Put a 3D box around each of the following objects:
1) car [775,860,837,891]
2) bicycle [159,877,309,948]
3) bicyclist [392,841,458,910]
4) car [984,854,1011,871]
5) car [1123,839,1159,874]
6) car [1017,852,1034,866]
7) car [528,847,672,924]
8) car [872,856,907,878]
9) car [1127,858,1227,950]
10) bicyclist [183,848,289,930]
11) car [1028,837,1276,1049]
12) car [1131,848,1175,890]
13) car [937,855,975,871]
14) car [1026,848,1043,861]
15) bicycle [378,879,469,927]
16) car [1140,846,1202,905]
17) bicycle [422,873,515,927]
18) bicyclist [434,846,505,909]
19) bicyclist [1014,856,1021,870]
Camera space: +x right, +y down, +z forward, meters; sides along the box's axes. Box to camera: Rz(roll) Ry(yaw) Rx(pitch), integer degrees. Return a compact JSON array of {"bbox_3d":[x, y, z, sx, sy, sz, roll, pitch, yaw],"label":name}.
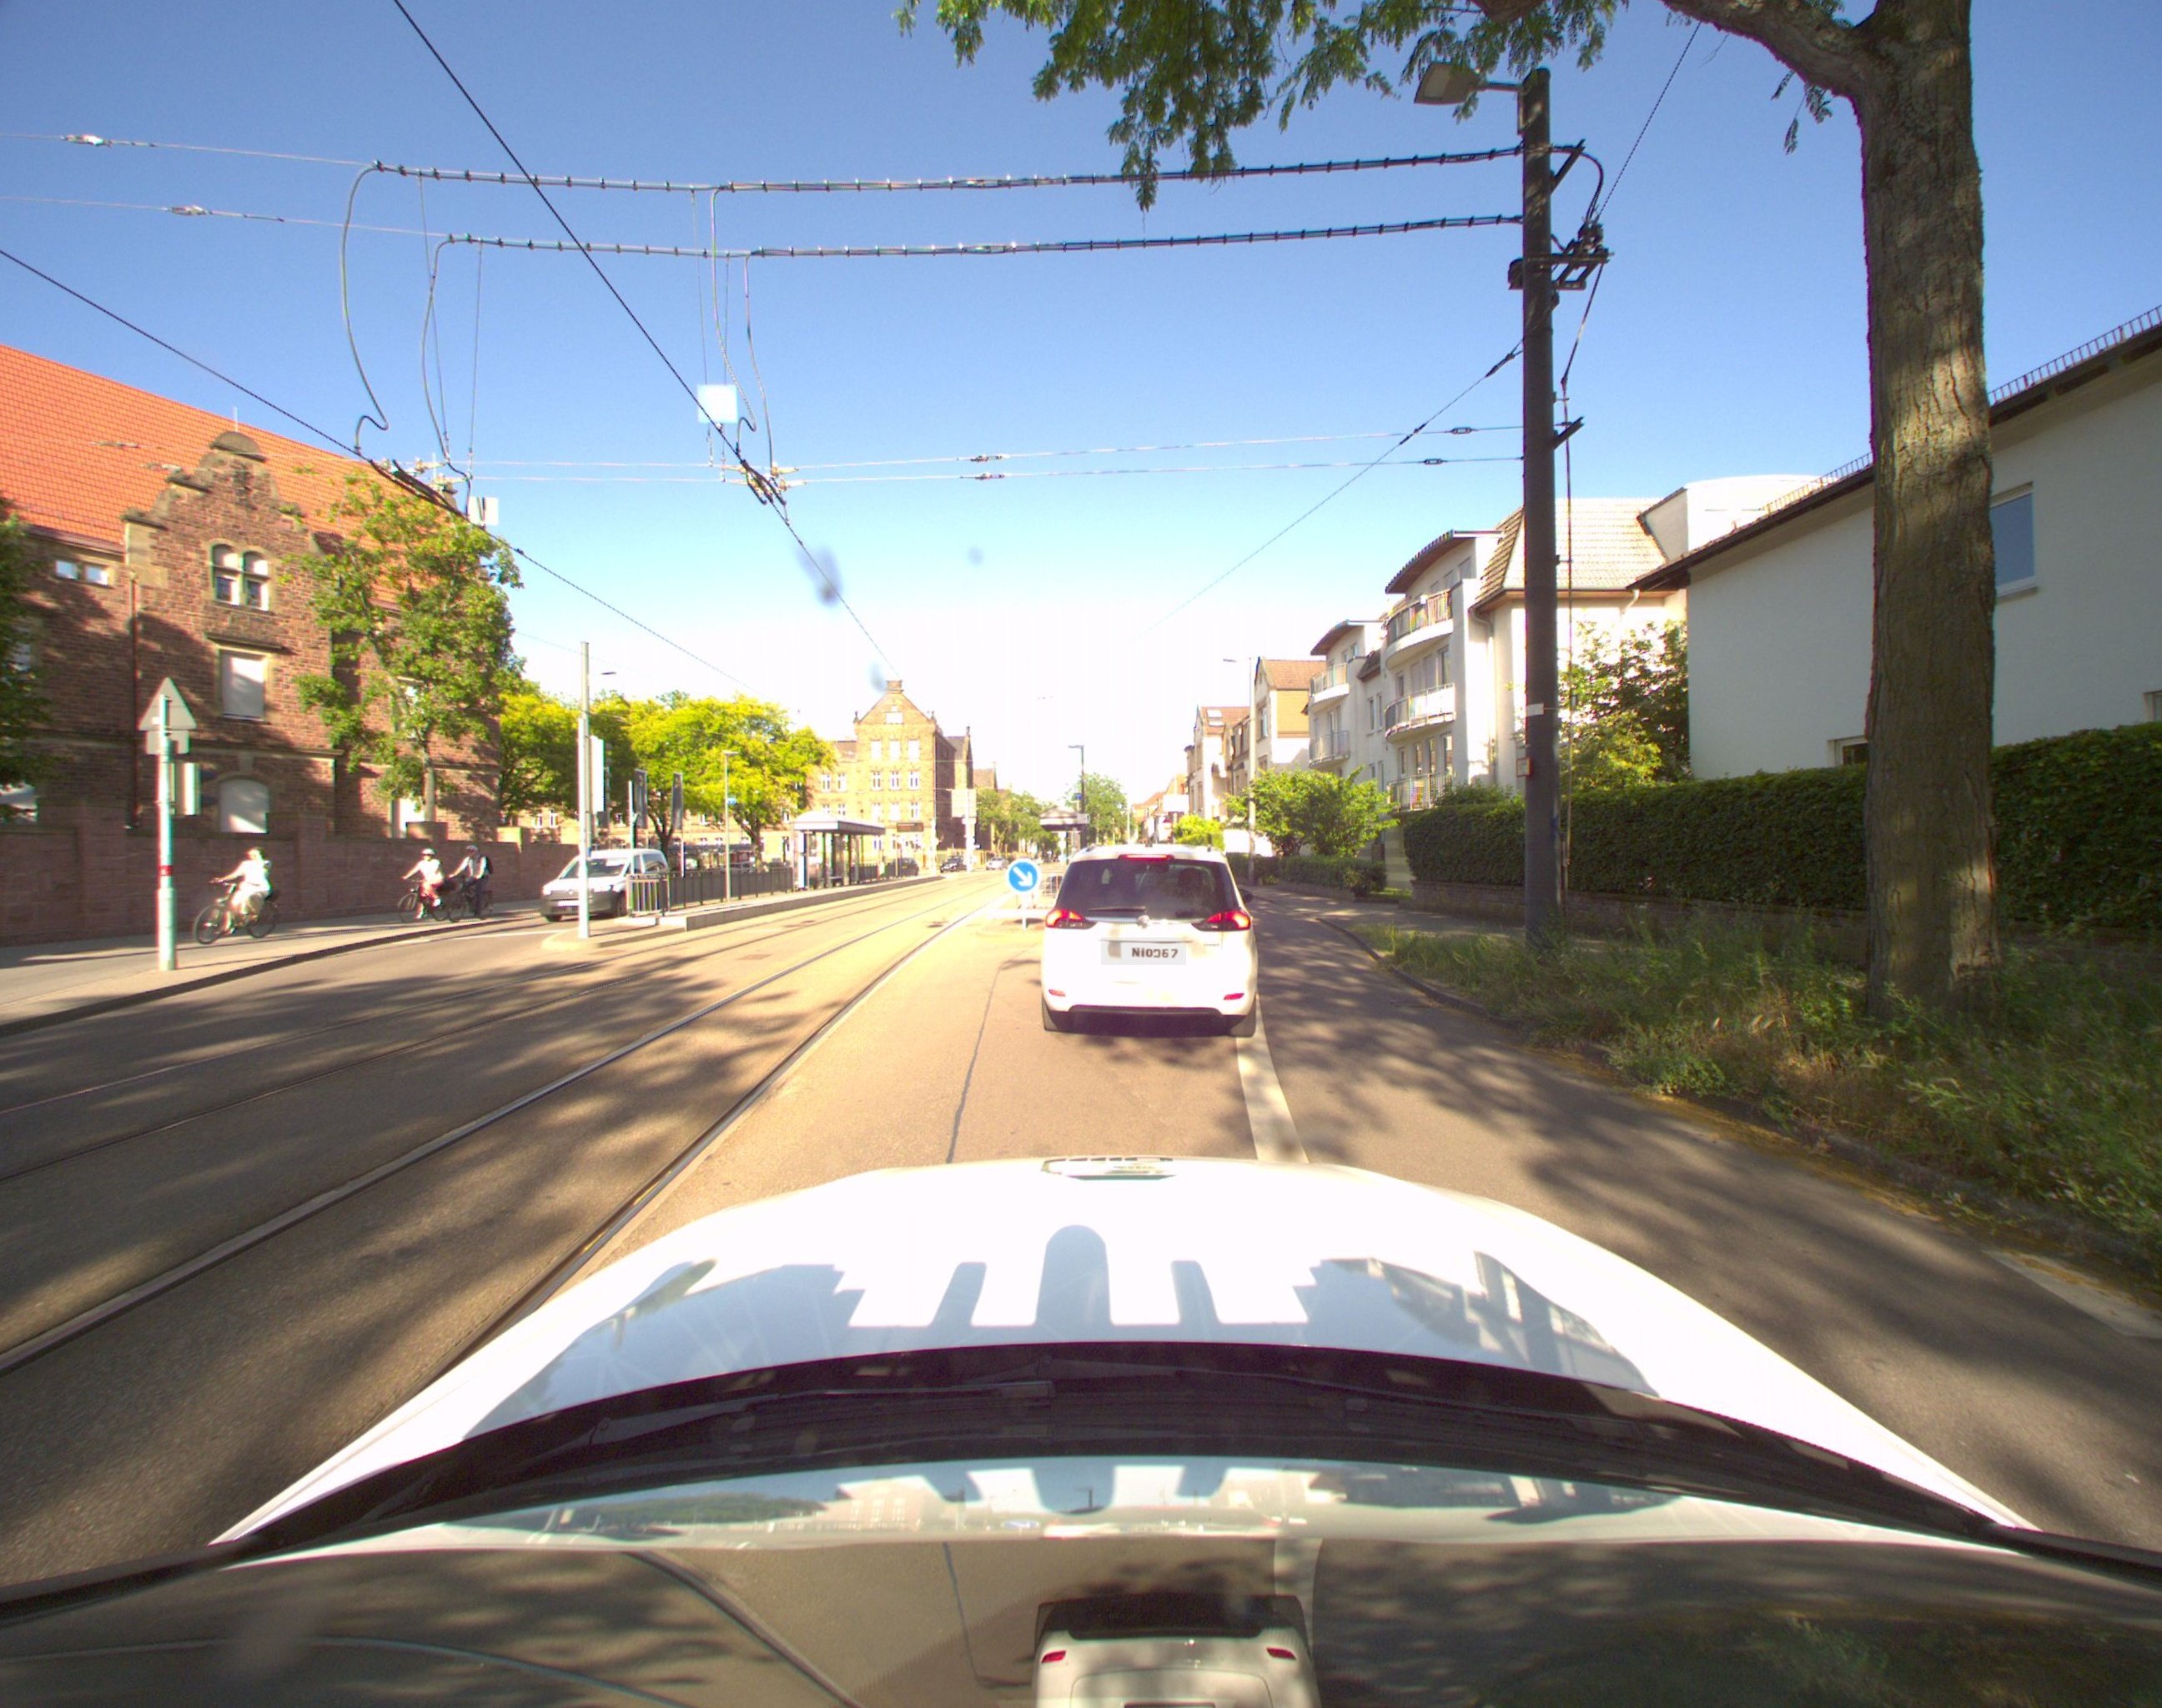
[{"bbox_3d":[-13.871,1.063,41.277,1.794,1.382,4.490,-1,0,-3],"label":"car"},{"bbox_3d":[-15.810,1.052,15.290,0.813,1.198,1.950,0,0,-3],"label":"bicycle"},{"bbox_3d":[-16.442,0.519,20.447,0.648,1.674,1.233,0,1,0],"label":"bicyclist"},{"bbox_3d":[-9.154,0.938,89.521,1.816,1.788,4.338,-1,-1,9],"label":"car"},{"bbox_3d":[2.925,0.110,40.466,1.590,1.635,3.903,1,1,2],"label":"car"},{"bbox_3d":[-8.165,0.785,119.278,1.985,2.014,4.003,0,-1,3],"label":"car"},{"bbox_3d":[-12.740,0.757,21.920,1.826,1.788,4.242,-2,0,-9],"label":"car"},{"bbox_3d":[-14.692,1.013,62.607,1.822,1.617,4.323,-1,-1,-2],"label":"car"},{"bbox_3d":[1.775,0.803,14.872,1.560,1.401,3.792,1,0,7],"label":"car"},{"bbox_3d":[-15.810,0.632,15.271,0.755,1.471,1.189,0,-1,-3],"label":"bicyclist"},{"bbox_3d":[0.788,0.668,8.195,1.868,1.585,4.008,-1,0,7],"label":"car"},{"bbox_3d":[2.937,0.591,33.978,1.590,1.635,3.903,1,0,2],"label":"car"},{"bbox_3d":[-11.782,0.889,77.003,1.812,1.446,4.346,-1,-1,17],"label":"car"},{"bbox_3d":[-7.663,0.072,133.579,1.982,2.014,4.009,-1,-1,8],"label":"car"},{"bbox_3d":[-16.453,1.192,20.453,0.667,1.072,2.014,0,0,-1],"label":"bicycle"},{"bbox_3d":[2.632,0.591,24.481,1.563,1.614,3.786,1,0,2],"label":"car"},{"bbox_3d":[-15.372,1.118,20.512,0.775,1.231,2.087,-1,0,-2],"label":"bicycle"},{"bbox_3d":[-15.381,0.571,20.514,0.758,1.536,1.347,-1,0,-2],"label":"bicyclist"},{"bbox_3d":[-8.002,1.110,102.715,0.723,1.688,1.169,0,0,0],"label":"bicyclist"}]
